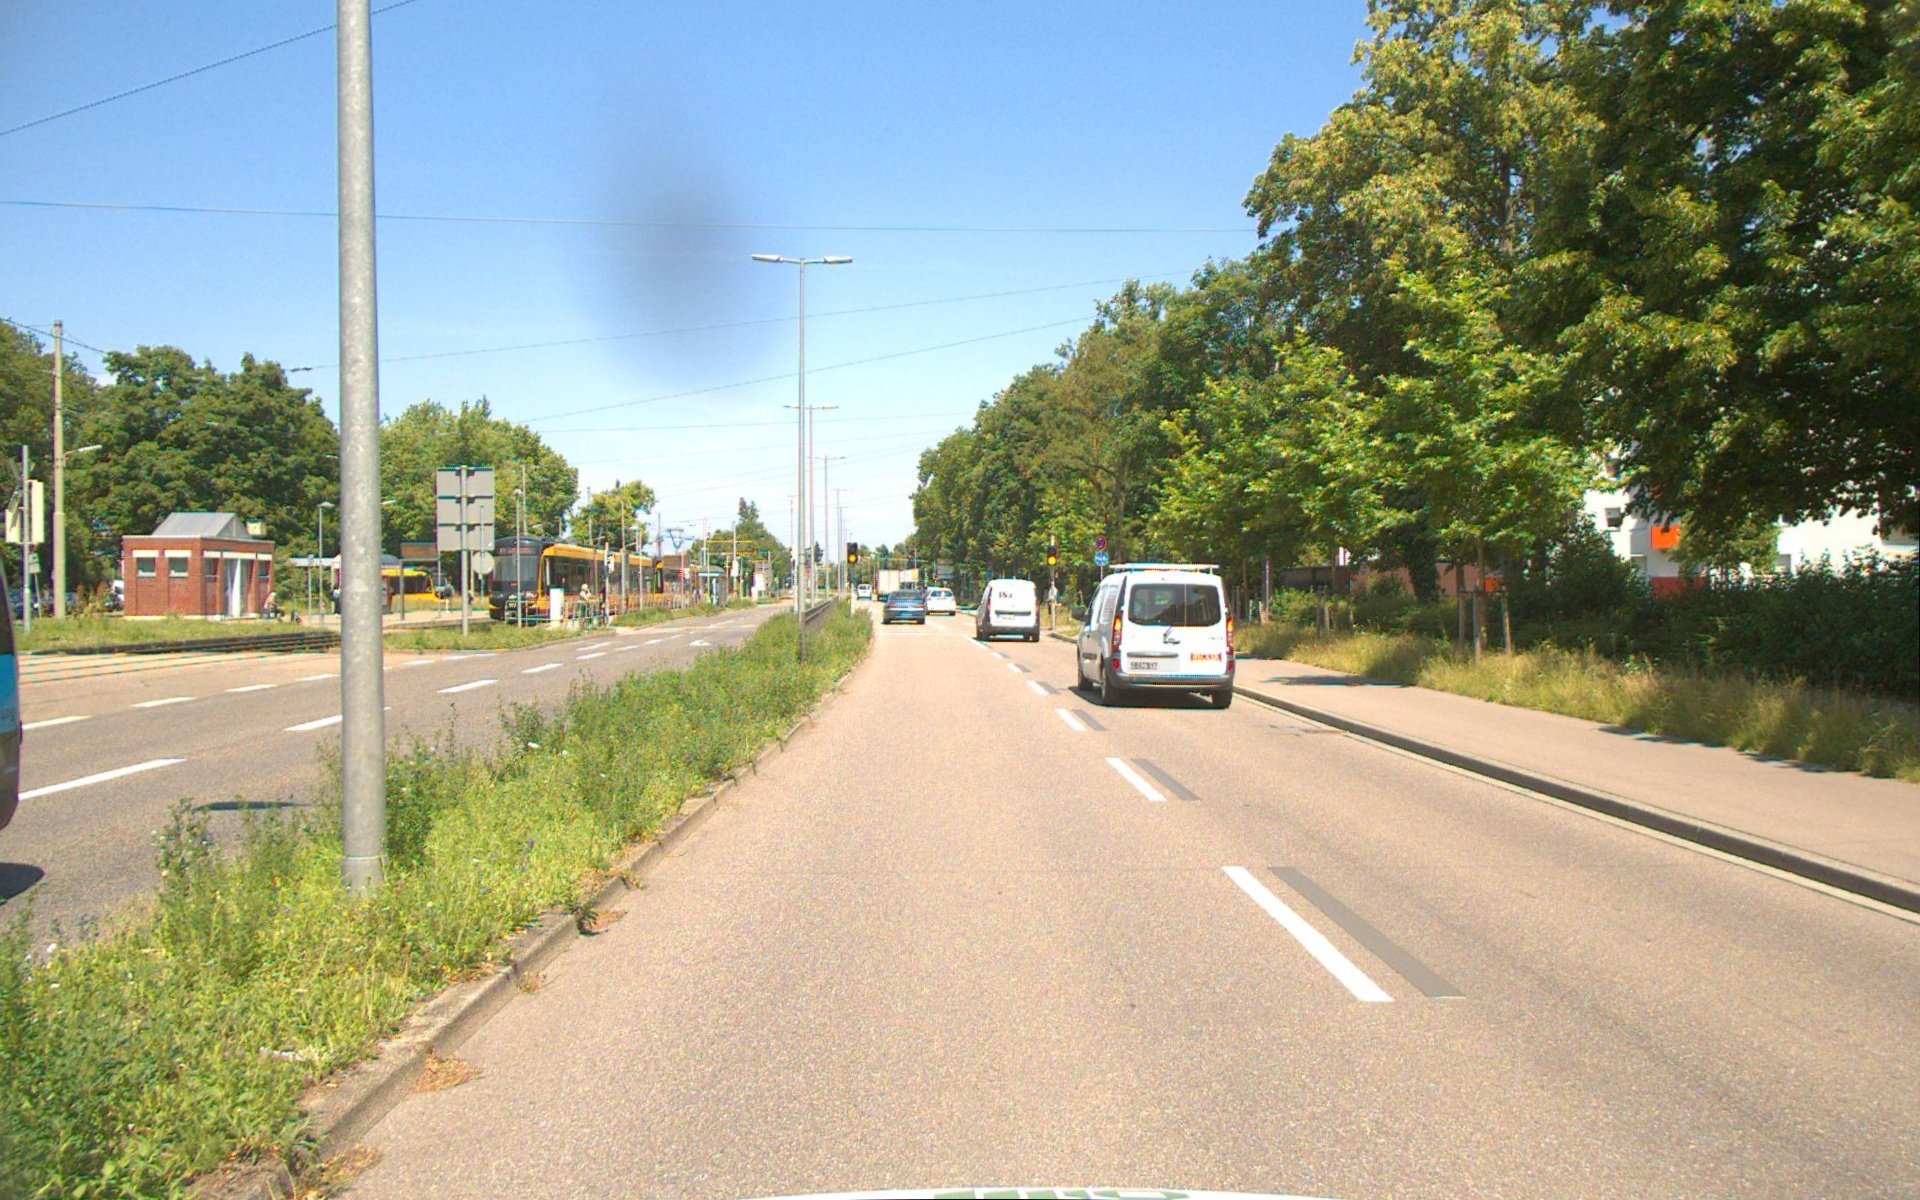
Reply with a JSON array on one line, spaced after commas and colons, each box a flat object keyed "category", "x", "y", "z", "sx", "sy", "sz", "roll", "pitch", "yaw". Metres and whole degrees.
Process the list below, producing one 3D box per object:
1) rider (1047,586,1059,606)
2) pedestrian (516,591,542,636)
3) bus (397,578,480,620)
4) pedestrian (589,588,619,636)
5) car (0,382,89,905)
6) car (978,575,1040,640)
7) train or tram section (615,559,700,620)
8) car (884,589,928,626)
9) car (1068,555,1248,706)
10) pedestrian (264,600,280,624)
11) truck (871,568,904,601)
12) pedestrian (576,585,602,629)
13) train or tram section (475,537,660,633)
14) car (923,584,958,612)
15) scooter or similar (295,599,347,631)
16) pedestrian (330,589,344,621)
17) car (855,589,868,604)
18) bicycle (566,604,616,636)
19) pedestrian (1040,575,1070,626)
[{"category": "rider", "x": 5.828, "y": -0.251, "z": 103.668, "sx": 0.664, "sy": 1.304, "sz": 0.533, "roll": 0, "pitch": 0, "yaw": -4}, {"category": "pedestrian", "x": -15.034, "y": 0.465, "z": 57.726, "sx": 0.534, "sy": 1.568, "sz": 0.855, "roll": 0, "pitch": 0, "yaw": -44}, {"category": "bus", "x": -46.025, "y": -0.105, "z": 146.033, "sx": 7.378, "sy": 3.629, "sz": 2.000, "roll": 0, "pitch": 0, "yaw": 21}, {"category": "pedestrian", "x": -13.833, "y": 0.454, "z": 64.263, "sx": 0.939, "sy": 1.828, "sz": 0.705, "roll": 0, "pitch": 0, "yaw": 25}, {"category": "car", "x": -5.329, "y": 0.227, "z": 5.687, "sx": 1.953, "sy": 2.407, "sz": 5.370, "roll": -1, "pitch": 0, "yaw": -2}, {"category": "car", "x": 1.439, "y": 0.182, "z": 49.718, "sx": 1.692, "sy": 1.845, "sz": 4.000, "roll": 1, "pitch": 1, "yaw": -1}, {"category": "train or tram section", "x": -20.570, "y": -0.634, "z": 114.368, "sx": 2.732, "sy": 3.732, "sz": 25.979, "roll": 0, "pitch": 0, "yaw": -4}, {"category": "car", "x": -2.324, "y": 0.291, "z": 70.248, "sx": 1.766, "sy": 1.512, "sz": 3.998, "roll": 0, "pitch": 0, "yaw": -3}, {"category": "car", "x": 2.697, "y": 0.386, "z": 23.533, "sx": 1.788, "sy": 1.914, "sz": 4.453, "roll": 1, "pitch": 0, "yaw": -3}, {"category": "pedestrian", "x": -29.912, "y": 0.539, "z": 71.940, "sx": 0.472, "sy": 1.036, "sz": 0.522, "roll": 0, "pitch": 0, "yaw": -2}, {"category": "truck", "x": -8.800, "y": -1.833, "z": 199.823, "sx": 3.822, "sy": 3.879, "sz": 10.784, "roll": 0, "pitch": 0, "yaw": -4}, {"category": "pedestrian", "x": -14.017, "y": 0.255, "z": 62.434, "sx": 0.802, "sy": 1.657, "sz": 0.705, "roll": 0, "pitch": 0, "yaw": 2}, {"category": "train or tram section", "x": -18.559, "y": -0.596, "z": 82.695, "sx": 2.732, "sy": 3.732, "sz": 37.489, "roll": 0, "pitch": 0, "yaw": -4}, {"category": "car", "x": -1.139, "y": -0.109, "z": 94.432, "sx": 1.768, "sy": 1.567, "sz": 3.996, "roll": 0, "pitch": 0, "yaw": -4}, {"category": "scooter or similar", "x": -23.053, "y": 0.533, "z": 59.696, "sx": 0.601, "sy": 1.146, "sz": 1.664, "roll": 0, "pitch": 0, "yaw": 40}, {"category": "pedestrian", "x": -28.535, "y": 0.231, "z": 75.731, "sx": 0.452, "sy": 1.461, "sz": 0.524, "roll": 0, "pitch": 0, "yaw": -6}, {"category": "car", "x": -12.878, "y": -0.498, "z": 215.946, "sx": 1.654, "sy": 1.930, "sz": 3.867, "roll": 0, "pitch": 0, "yaw": -4}, {"category": "bicycle", "x": -13.935, "y": 0.752, "z": 62.408, "sx": 1.824, "sy": 1.177, "sz": 0.242, "roll": 0, "pitch": 0, "yaw": 1}, {"category": "pedestrian", "x": 3.496, "y": 0.013, "z": 61.051, "sx": 1.024, "sy": 1.882, "sz": 0.758, "roll": 1, "pitch": 0, "yaw": 8}]
